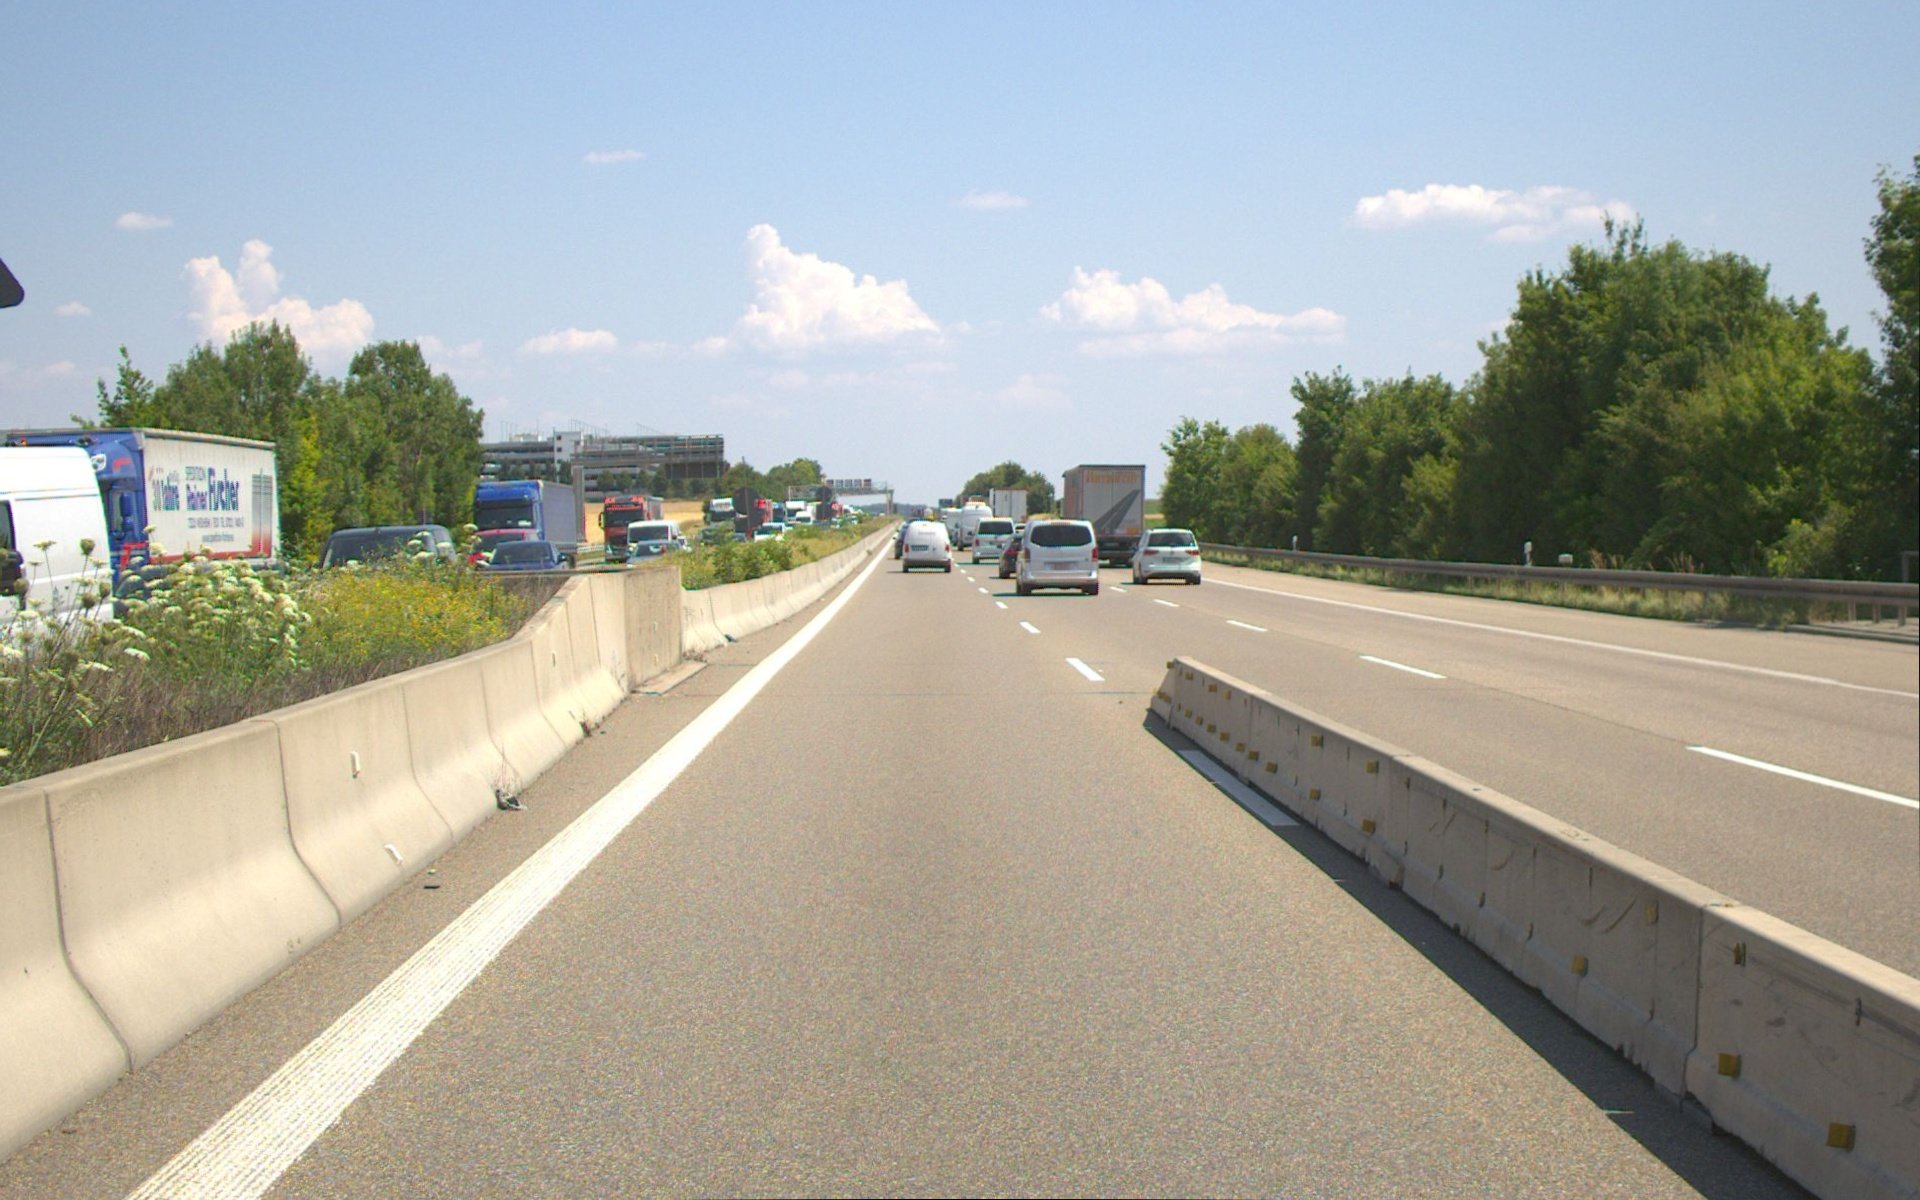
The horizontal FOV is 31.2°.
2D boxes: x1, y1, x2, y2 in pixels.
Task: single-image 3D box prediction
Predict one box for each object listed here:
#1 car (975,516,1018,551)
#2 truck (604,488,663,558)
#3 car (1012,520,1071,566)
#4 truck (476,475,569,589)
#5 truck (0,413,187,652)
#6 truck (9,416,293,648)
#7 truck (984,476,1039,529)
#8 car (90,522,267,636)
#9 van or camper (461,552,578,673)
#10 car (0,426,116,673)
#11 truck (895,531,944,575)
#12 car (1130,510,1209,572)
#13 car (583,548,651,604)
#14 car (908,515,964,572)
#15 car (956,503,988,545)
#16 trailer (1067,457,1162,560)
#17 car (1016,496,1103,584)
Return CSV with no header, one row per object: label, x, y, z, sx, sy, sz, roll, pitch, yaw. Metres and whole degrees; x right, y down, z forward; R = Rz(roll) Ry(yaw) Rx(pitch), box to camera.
car,1.581,-2.856,148.879,1.773,1.442,4.000,-1,0,-1
truck,-18.526,-4.368,195.199,2.856,3.842,4.000,-2,1,-1
car,2.640,-1.849,112.078,1.773,1.442,4.000,-1,0,-1
truck,-17.248,-2.685,135.743,2.865,4.335,5.586,-2,1,0
truck,-16.560,-1.270,65.019,2.592,4.224,4.855,-4,1,-1
truck,-16.677,-1.425,72.112,2.592,4.224,14.124,-4,1,-1
truck,3.917,-7.430,262.567,3.815,3.891,9.581,-1,1,-1
car,-12.123,-0.357,53.571,1.889,1.649,4.096,-2,1,-2
van or camper,-10.029,0.239,78.601,2.148,2.619,4.398,-1,1,-1
car,-8.581,-0.407,28.576,1.993,1.939,4.795,-1,1,-1
truck,-1.966,-2.259,165.094,2.211,2.007,4.972,-1,1,-2
car,6.124,-1.714,100.906,1.993,1.788,4.000,-1,0,-1
car,-10.374,-0.738,104.191,1.684,1.561,4.563,-2,1,-1
car,-0.879,-2.044,125.294,1.993,2.007,4.000,-1,0,-1
car,0.669,-4.371,198.167,1.773,2.384,4.000,-1,0,-1
trailer,6.162,-3.604,138.572,3.277,3.953,9.113,-1,0,-1
car,2.456,-1.479,85.600,1.993,2.112,4.000,-1,0,-1
